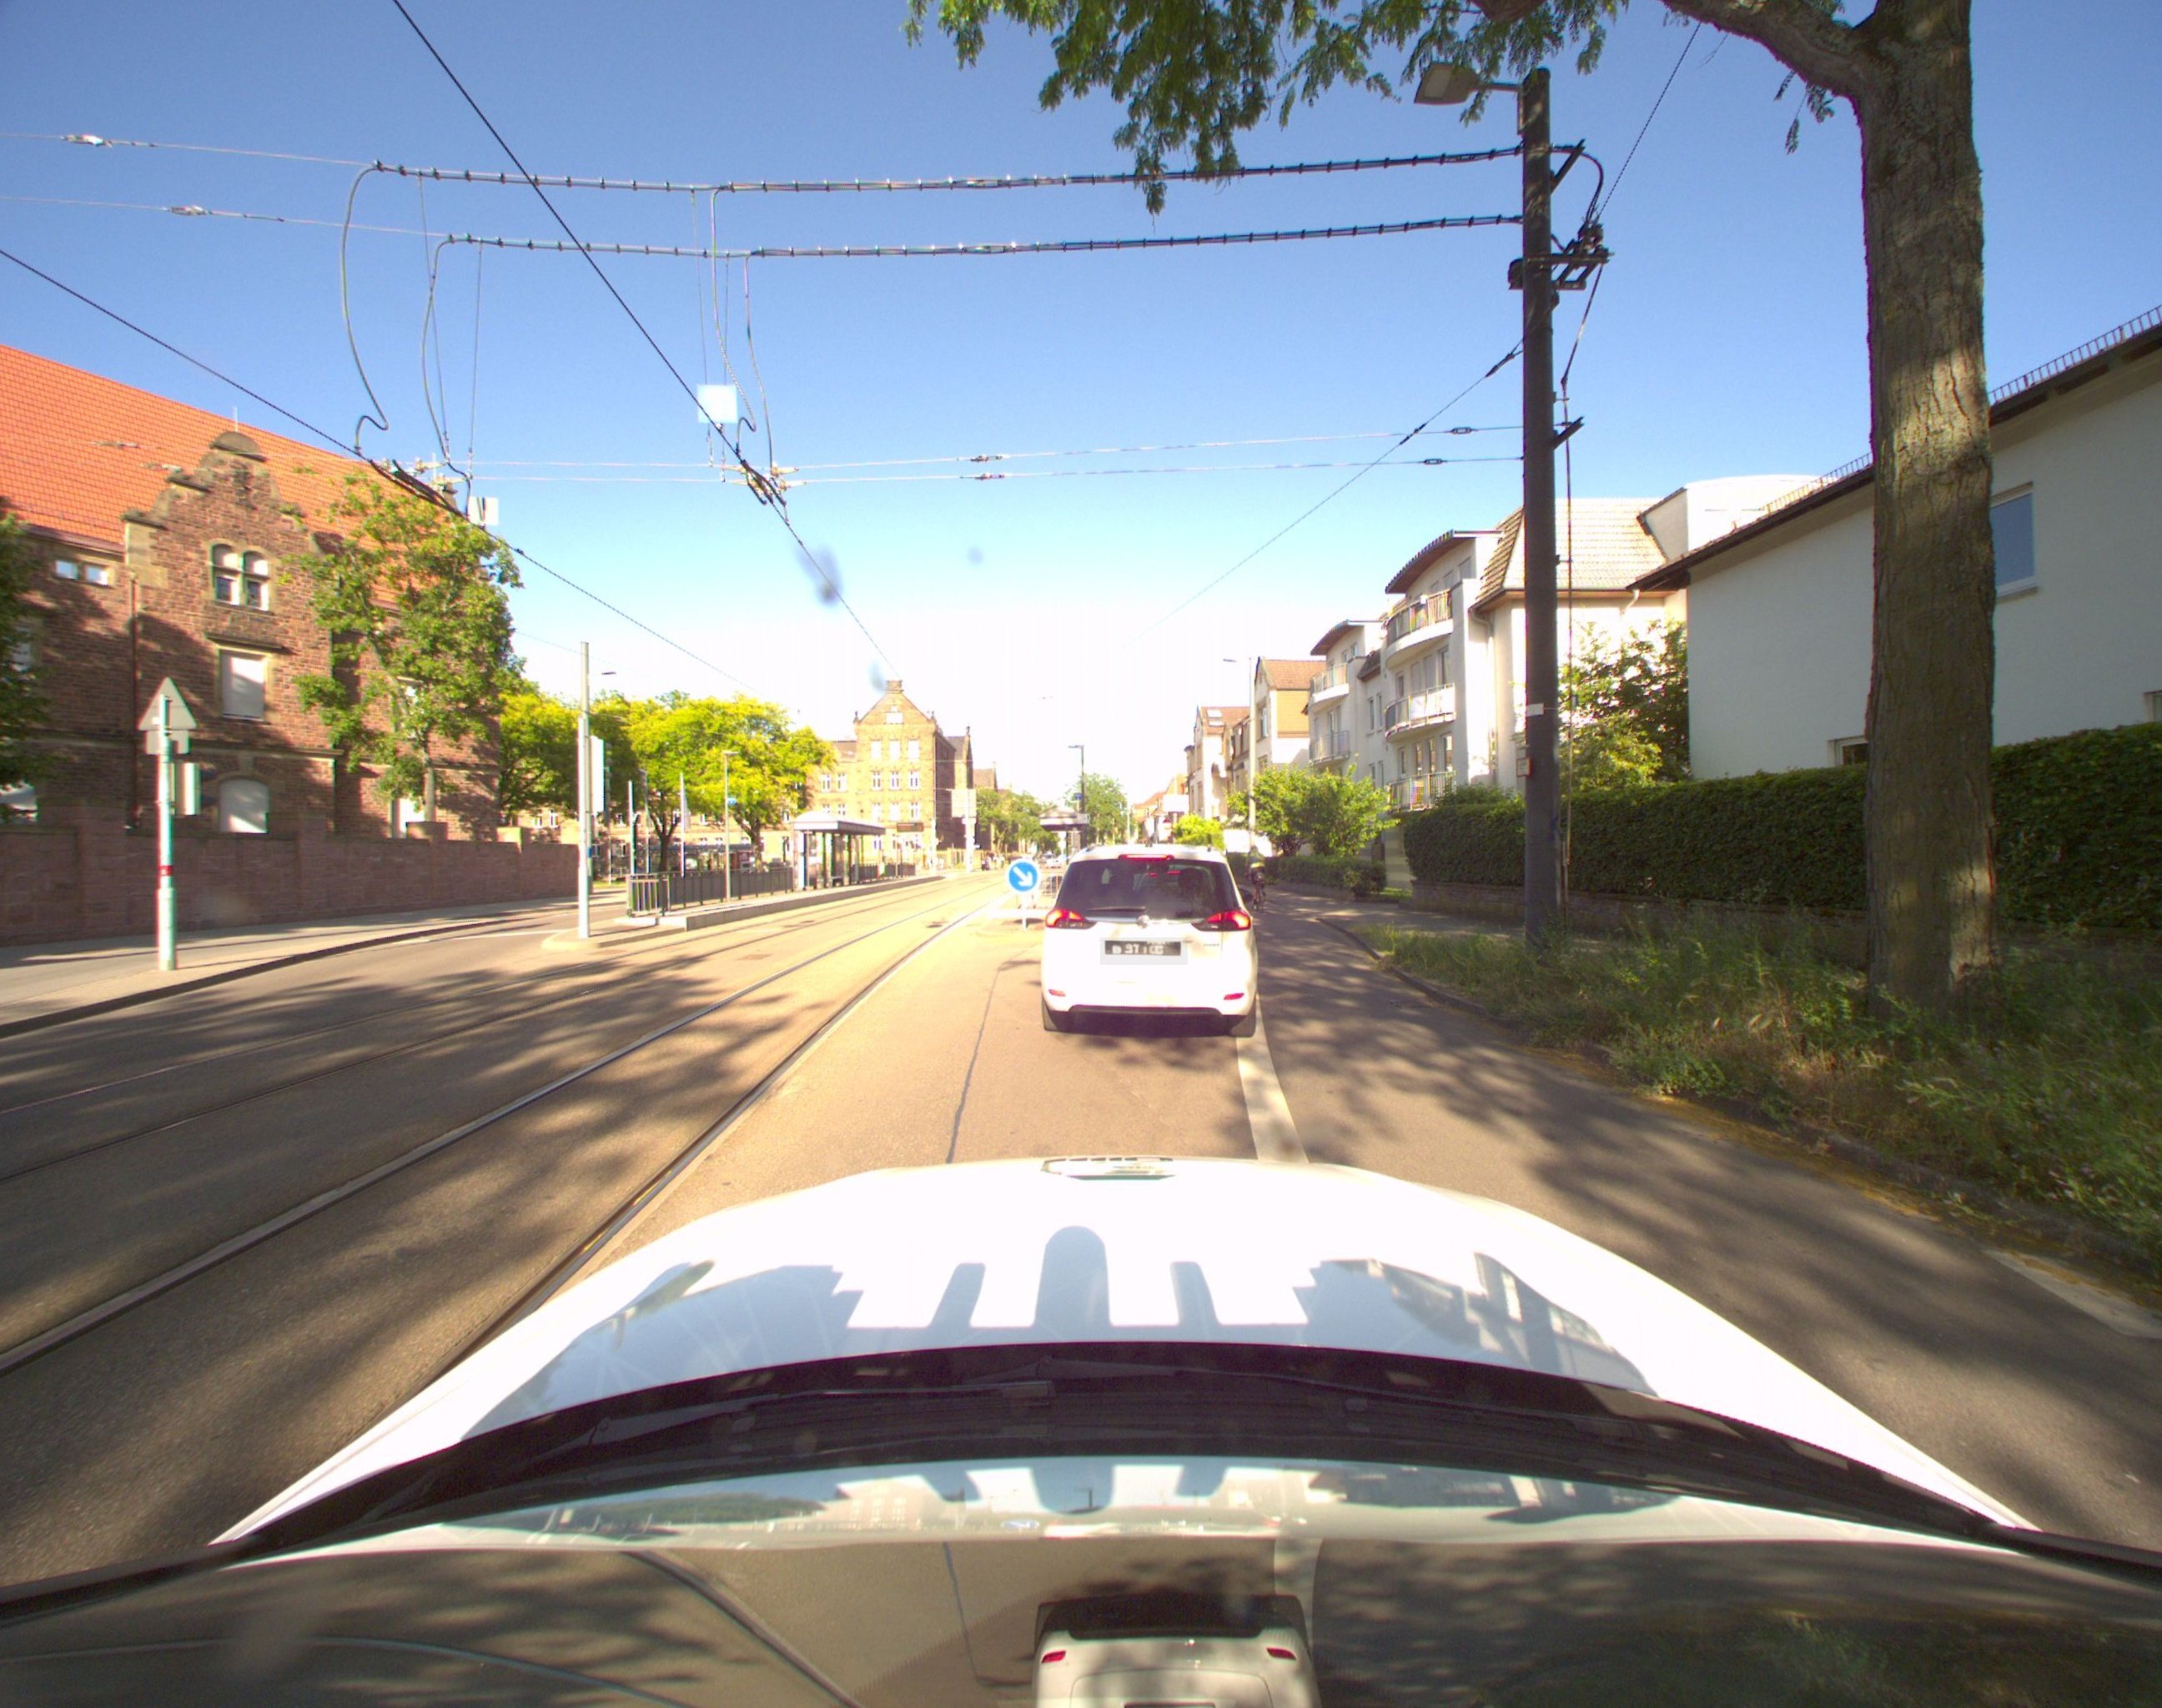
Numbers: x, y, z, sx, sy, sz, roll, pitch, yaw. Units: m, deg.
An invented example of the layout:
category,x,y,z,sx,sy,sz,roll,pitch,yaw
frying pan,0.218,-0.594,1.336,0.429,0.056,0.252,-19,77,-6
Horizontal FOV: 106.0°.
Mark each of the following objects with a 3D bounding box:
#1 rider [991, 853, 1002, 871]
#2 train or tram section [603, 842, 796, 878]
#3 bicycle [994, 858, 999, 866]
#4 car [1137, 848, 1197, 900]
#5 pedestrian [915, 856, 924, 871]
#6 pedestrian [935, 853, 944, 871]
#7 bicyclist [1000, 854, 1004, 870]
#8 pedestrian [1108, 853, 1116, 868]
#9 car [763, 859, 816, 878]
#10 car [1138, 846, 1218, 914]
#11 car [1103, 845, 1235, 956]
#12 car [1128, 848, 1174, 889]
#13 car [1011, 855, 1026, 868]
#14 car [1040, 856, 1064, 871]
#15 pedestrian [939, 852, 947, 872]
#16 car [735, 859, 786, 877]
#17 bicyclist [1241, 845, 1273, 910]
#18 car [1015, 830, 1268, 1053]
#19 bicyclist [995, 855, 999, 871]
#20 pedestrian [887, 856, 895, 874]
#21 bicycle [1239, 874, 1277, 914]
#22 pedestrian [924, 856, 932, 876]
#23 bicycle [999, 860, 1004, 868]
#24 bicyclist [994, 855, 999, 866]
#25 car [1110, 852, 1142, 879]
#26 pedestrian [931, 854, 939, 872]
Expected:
category,x,y,z,sx,sy,sz,roll,pitch,yaw
rider,-8.813,0.826,85.074,0.793,1.782,2.488,0,-1,1
train or tram section,-37.774,0.574,81.167,17.346,3.154,3.344,-1,-1,-3
bicycle,-11.264,1.047,108.444,0.507,1.077,1.739,0,-1,2
car,3.019,0.643,28.346,1.897,1.661,4.007,-1,0,6
pedestrian,-18.183,1.059,91.667,0.647,1.612,0.715,-1,-1,34
pedestrian,-16.126,0.929,92.899,0.802,2.014,0.712,0,-1,-43
bicyclist,-10.546,1.076,108.209,0.486,2.014,0.502,0,-1,1
pedestrian,3.948,0.839,102.187,0.801,1.901,0.747,-1,-1,18
car,-25.381,1.233,70.986,3.976,1.630,1.817,0,-1,-2
car,2.660,0.631,21.689,1.896,1.624,4.010,-1,0,9
car,1.595,0.684,13.869,1.896,1.597,4.010,-1,0,9
car,3.043,0.605,36.190,1.899,1.661,4.003,-1,0,3
car,-8.635,1.080,112.936,1.740,1.716,4.001,0,-1,2
car,-3.351,1.100,92.818,1.751,1.716,3.976,0,-1,-17
pedestrian,-14.480,0.851,85.525,0.796,2.014,0.717,0,-1,-15
car,-29.586,1.310,75.231,3.976,1.630,1.817,0,-1,-2
bicyclist,4.597,0.599,21.249,0.673,1.658,0.745,-1,0,2
car,0.758,0.663,8.194,1.896,1.661,4.010,-1,0,9
bicyclist,-10.765,1.195,104.117,0.496,2.014,0.572,0,-1,1
pedestrian,-19.211,1.113,82.399,0.768,1.774,0.717,0,-1,-15
bicycle,4.610,1.017,21.269,0.673,0.925,1.887,-1,0,3
pedestrian,-15.678,1.252,83.584,0.795,2.014,1.042,0,-1,-12
bicycle,-10.541,1.343,108.171,0.485,0.971,1.406,0,-1,2
bicyclist,-11.248,0.840,108.314,0.529,1.477,0.572,0,-1,1
car,2.897,0.735,53.183,1.901,1.661,4.000,-1,0,0
pedestrian,-16.873,1.048,94.053,0.684,2.014,0.620,-1,-1,20
